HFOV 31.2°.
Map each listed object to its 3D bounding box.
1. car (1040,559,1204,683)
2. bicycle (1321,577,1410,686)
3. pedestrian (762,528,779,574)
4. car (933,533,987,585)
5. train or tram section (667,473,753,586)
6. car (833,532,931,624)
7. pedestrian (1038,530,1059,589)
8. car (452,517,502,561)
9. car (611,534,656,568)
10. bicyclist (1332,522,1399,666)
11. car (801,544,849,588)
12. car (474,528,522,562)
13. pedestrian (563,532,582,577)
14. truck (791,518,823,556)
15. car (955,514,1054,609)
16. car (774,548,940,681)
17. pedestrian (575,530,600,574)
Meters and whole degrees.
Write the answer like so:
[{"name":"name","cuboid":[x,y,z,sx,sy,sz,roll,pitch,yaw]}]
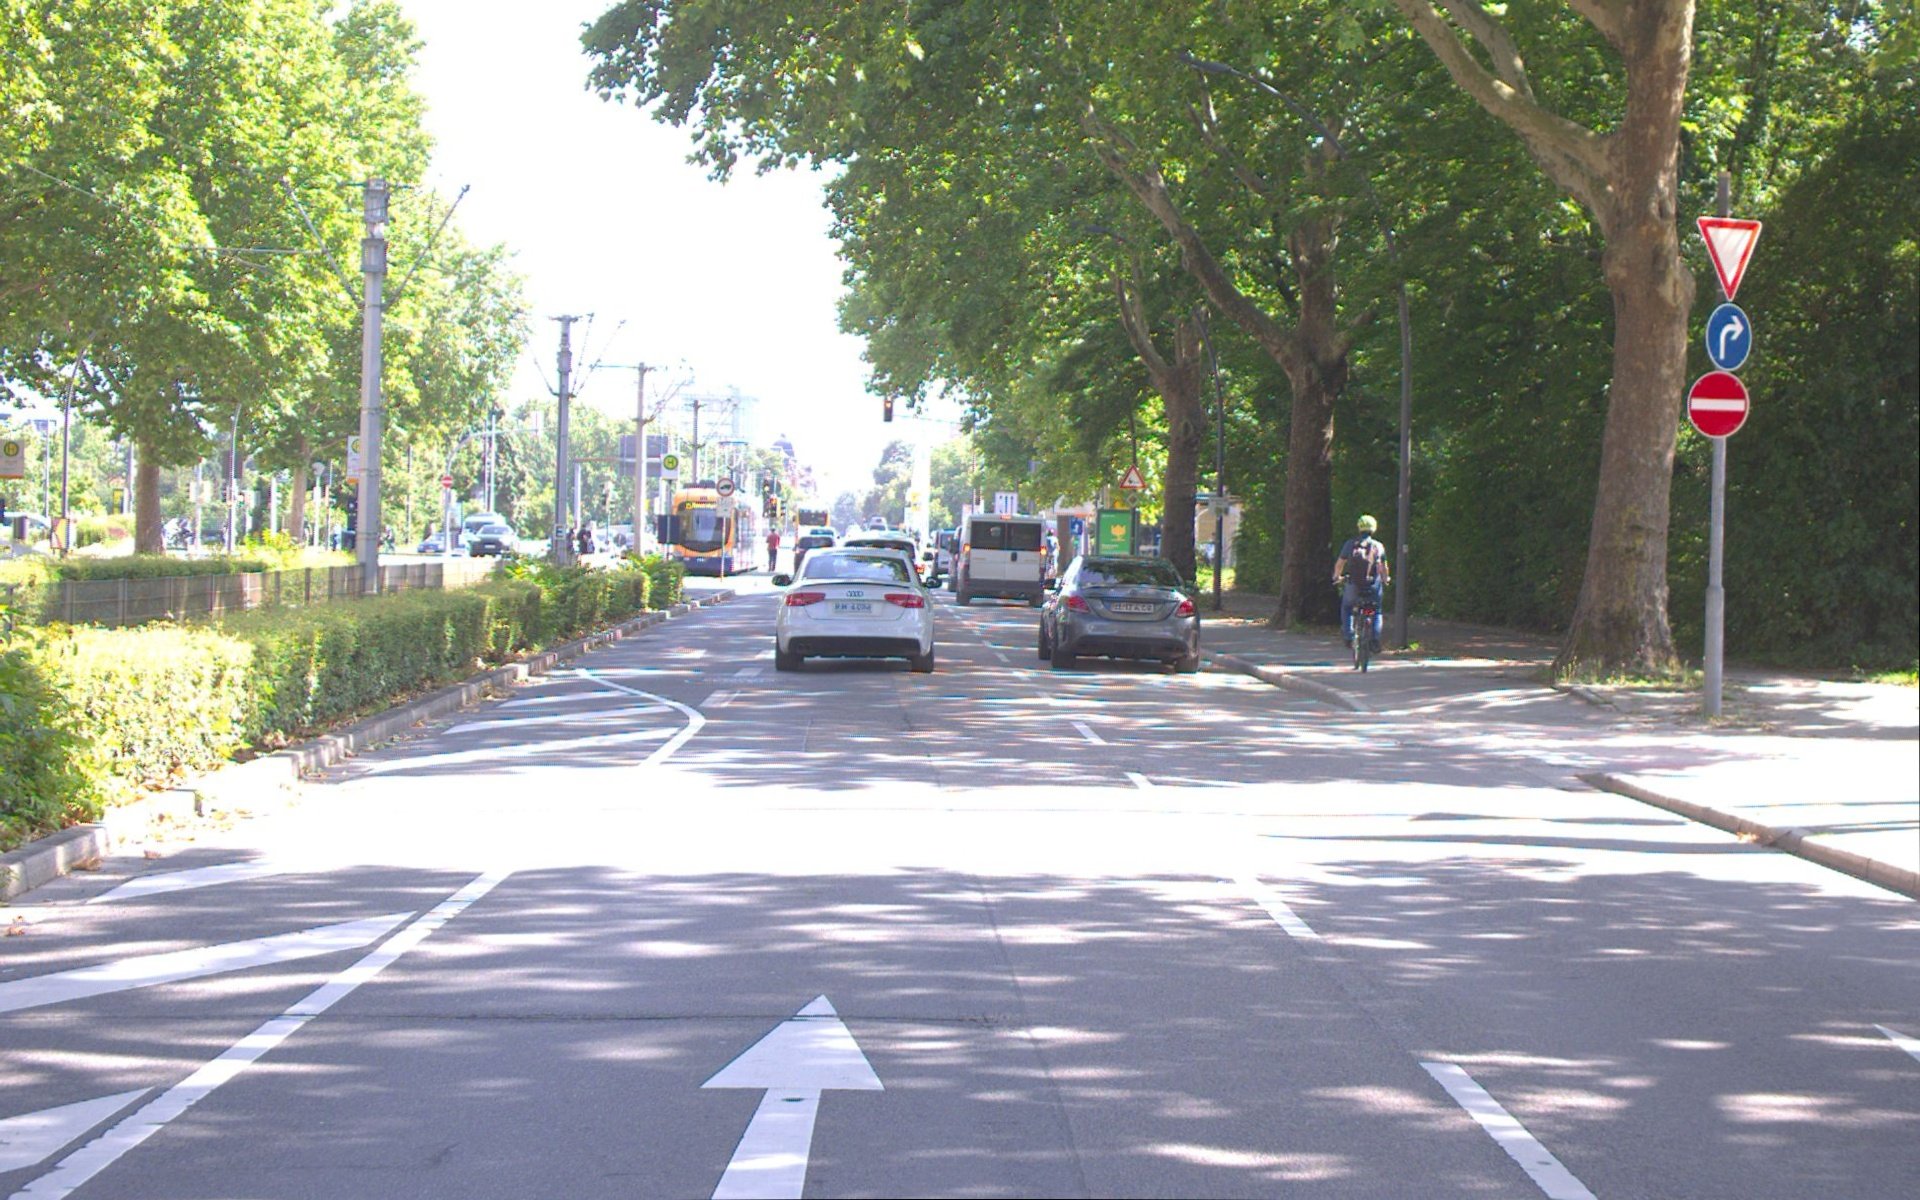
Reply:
[{"name":"car","cuboid":[1.998,0.230,43.464,1.782,1.415,4.000,2,1,-1]},{"name":"bicycle","cuboid":[4.772,0.357,40.536,0.714,1.144,2.179,-1,3,-2]},{"name":"pedestrian","cuboid":[-7.997,-2.080,144.802,0.624,1.911,0.690,2,1,0]},{"name":"car","cuboid":[-0.007,-1.674,139.042,2.072,1.992,4.058,2,1,-1]},{"name":"train or tram section","cuboid":[-9.341,-2.620,128.993,2.616,4.001,7.749,2,1,-1]},{"name":"car","cuboid":[-1.439,-0.431,64.062,1.729,1.599,3.885,2,1,-1]},{"name":"pedestrian","cuboid":[2.957,-1.365,114.841,0.635,1.939,0.719,2,1,0]},{"name":"car","cuboid":[-26.513,-3.351,188.794,2.114,2.374,4.000,2,1,-1]},{"name":"car","cuboid":[-17.545,-2.651,184.788,1.993,1.728,4.000,2,1,-1]},{"name":"bicyclist","cuboid":[4.772,-0.083,40.501,0.634,1.642,0.979,-1,2,-2]},{"name":"car","cuboid":[-5.242,-1.324,133.747,1.729,1.625,4.000,2,1,-1]},{"name":"car","cuboid":[-23.075,-2.745,171.806,1.830,1.618,4.897,2,1,-1]},{"name":"pedestrian","cuboid":[-14.488,-1.702,128.494,0.593,1.641,0.554,2,1,0]},{"name":"truck","cuboid":[-11.584,-4.788,260.597,1.993,2.780,8.519,2,1,-1]},{"name":"car","cuboid":[1.055,-0.946,83.845,2.230,2.204,4.162,2,1,-1]},{"name":"car","cuboid":[-1.168,0.129,39.914,1.784,1.416,3.885,2,1,-1]},{"name":"pedestrian","cuboid":[-14.625,-1.883,135.078,0.775,1.728,0.754,2,1,8]}]
